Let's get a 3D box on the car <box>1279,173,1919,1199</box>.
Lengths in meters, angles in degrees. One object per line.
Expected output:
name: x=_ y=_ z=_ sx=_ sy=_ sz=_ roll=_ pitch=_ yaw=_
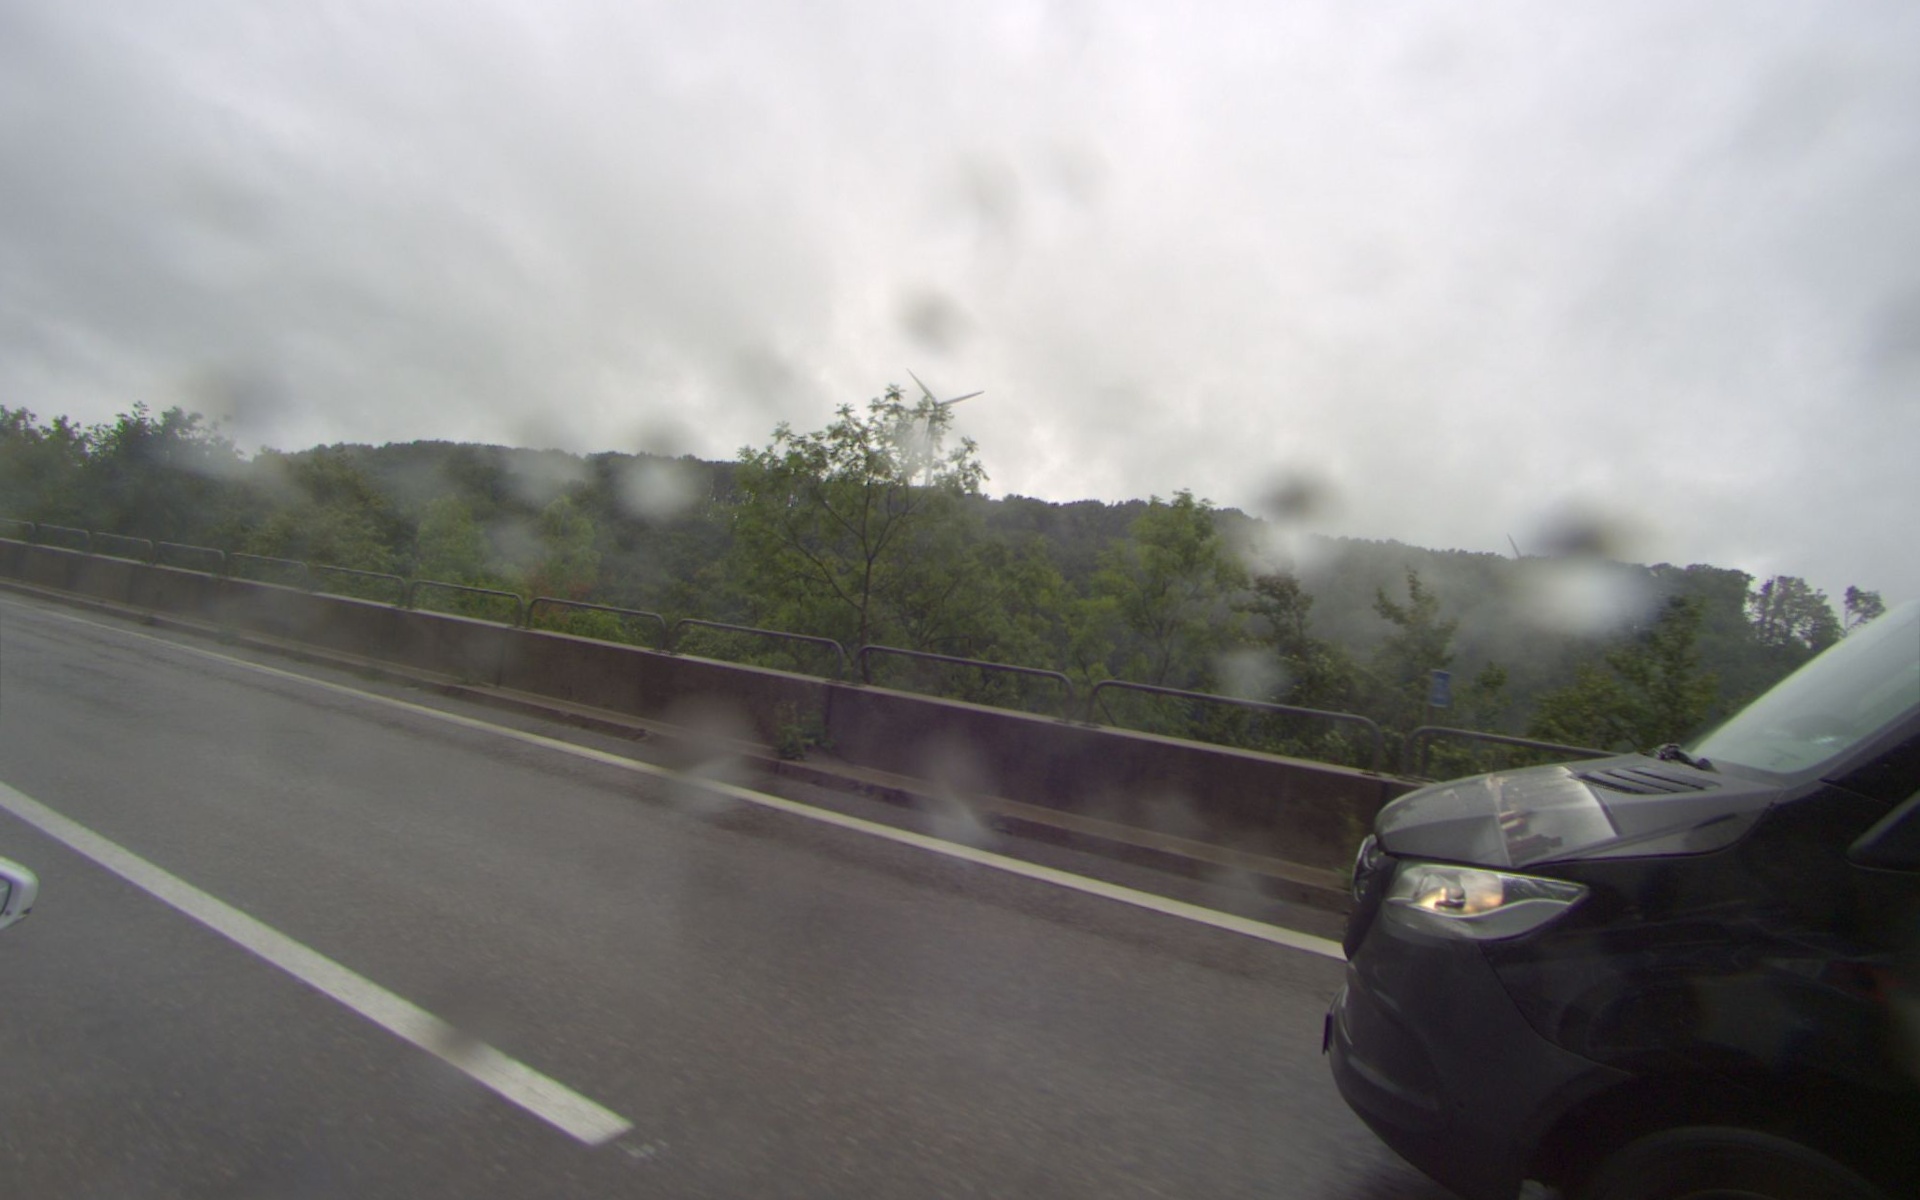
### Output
car: x=4.204 y=0.739 z=1.575 sx=6.593 sy=2.524 sz=1.997 roll=6 pitch=-1 yaw=31
